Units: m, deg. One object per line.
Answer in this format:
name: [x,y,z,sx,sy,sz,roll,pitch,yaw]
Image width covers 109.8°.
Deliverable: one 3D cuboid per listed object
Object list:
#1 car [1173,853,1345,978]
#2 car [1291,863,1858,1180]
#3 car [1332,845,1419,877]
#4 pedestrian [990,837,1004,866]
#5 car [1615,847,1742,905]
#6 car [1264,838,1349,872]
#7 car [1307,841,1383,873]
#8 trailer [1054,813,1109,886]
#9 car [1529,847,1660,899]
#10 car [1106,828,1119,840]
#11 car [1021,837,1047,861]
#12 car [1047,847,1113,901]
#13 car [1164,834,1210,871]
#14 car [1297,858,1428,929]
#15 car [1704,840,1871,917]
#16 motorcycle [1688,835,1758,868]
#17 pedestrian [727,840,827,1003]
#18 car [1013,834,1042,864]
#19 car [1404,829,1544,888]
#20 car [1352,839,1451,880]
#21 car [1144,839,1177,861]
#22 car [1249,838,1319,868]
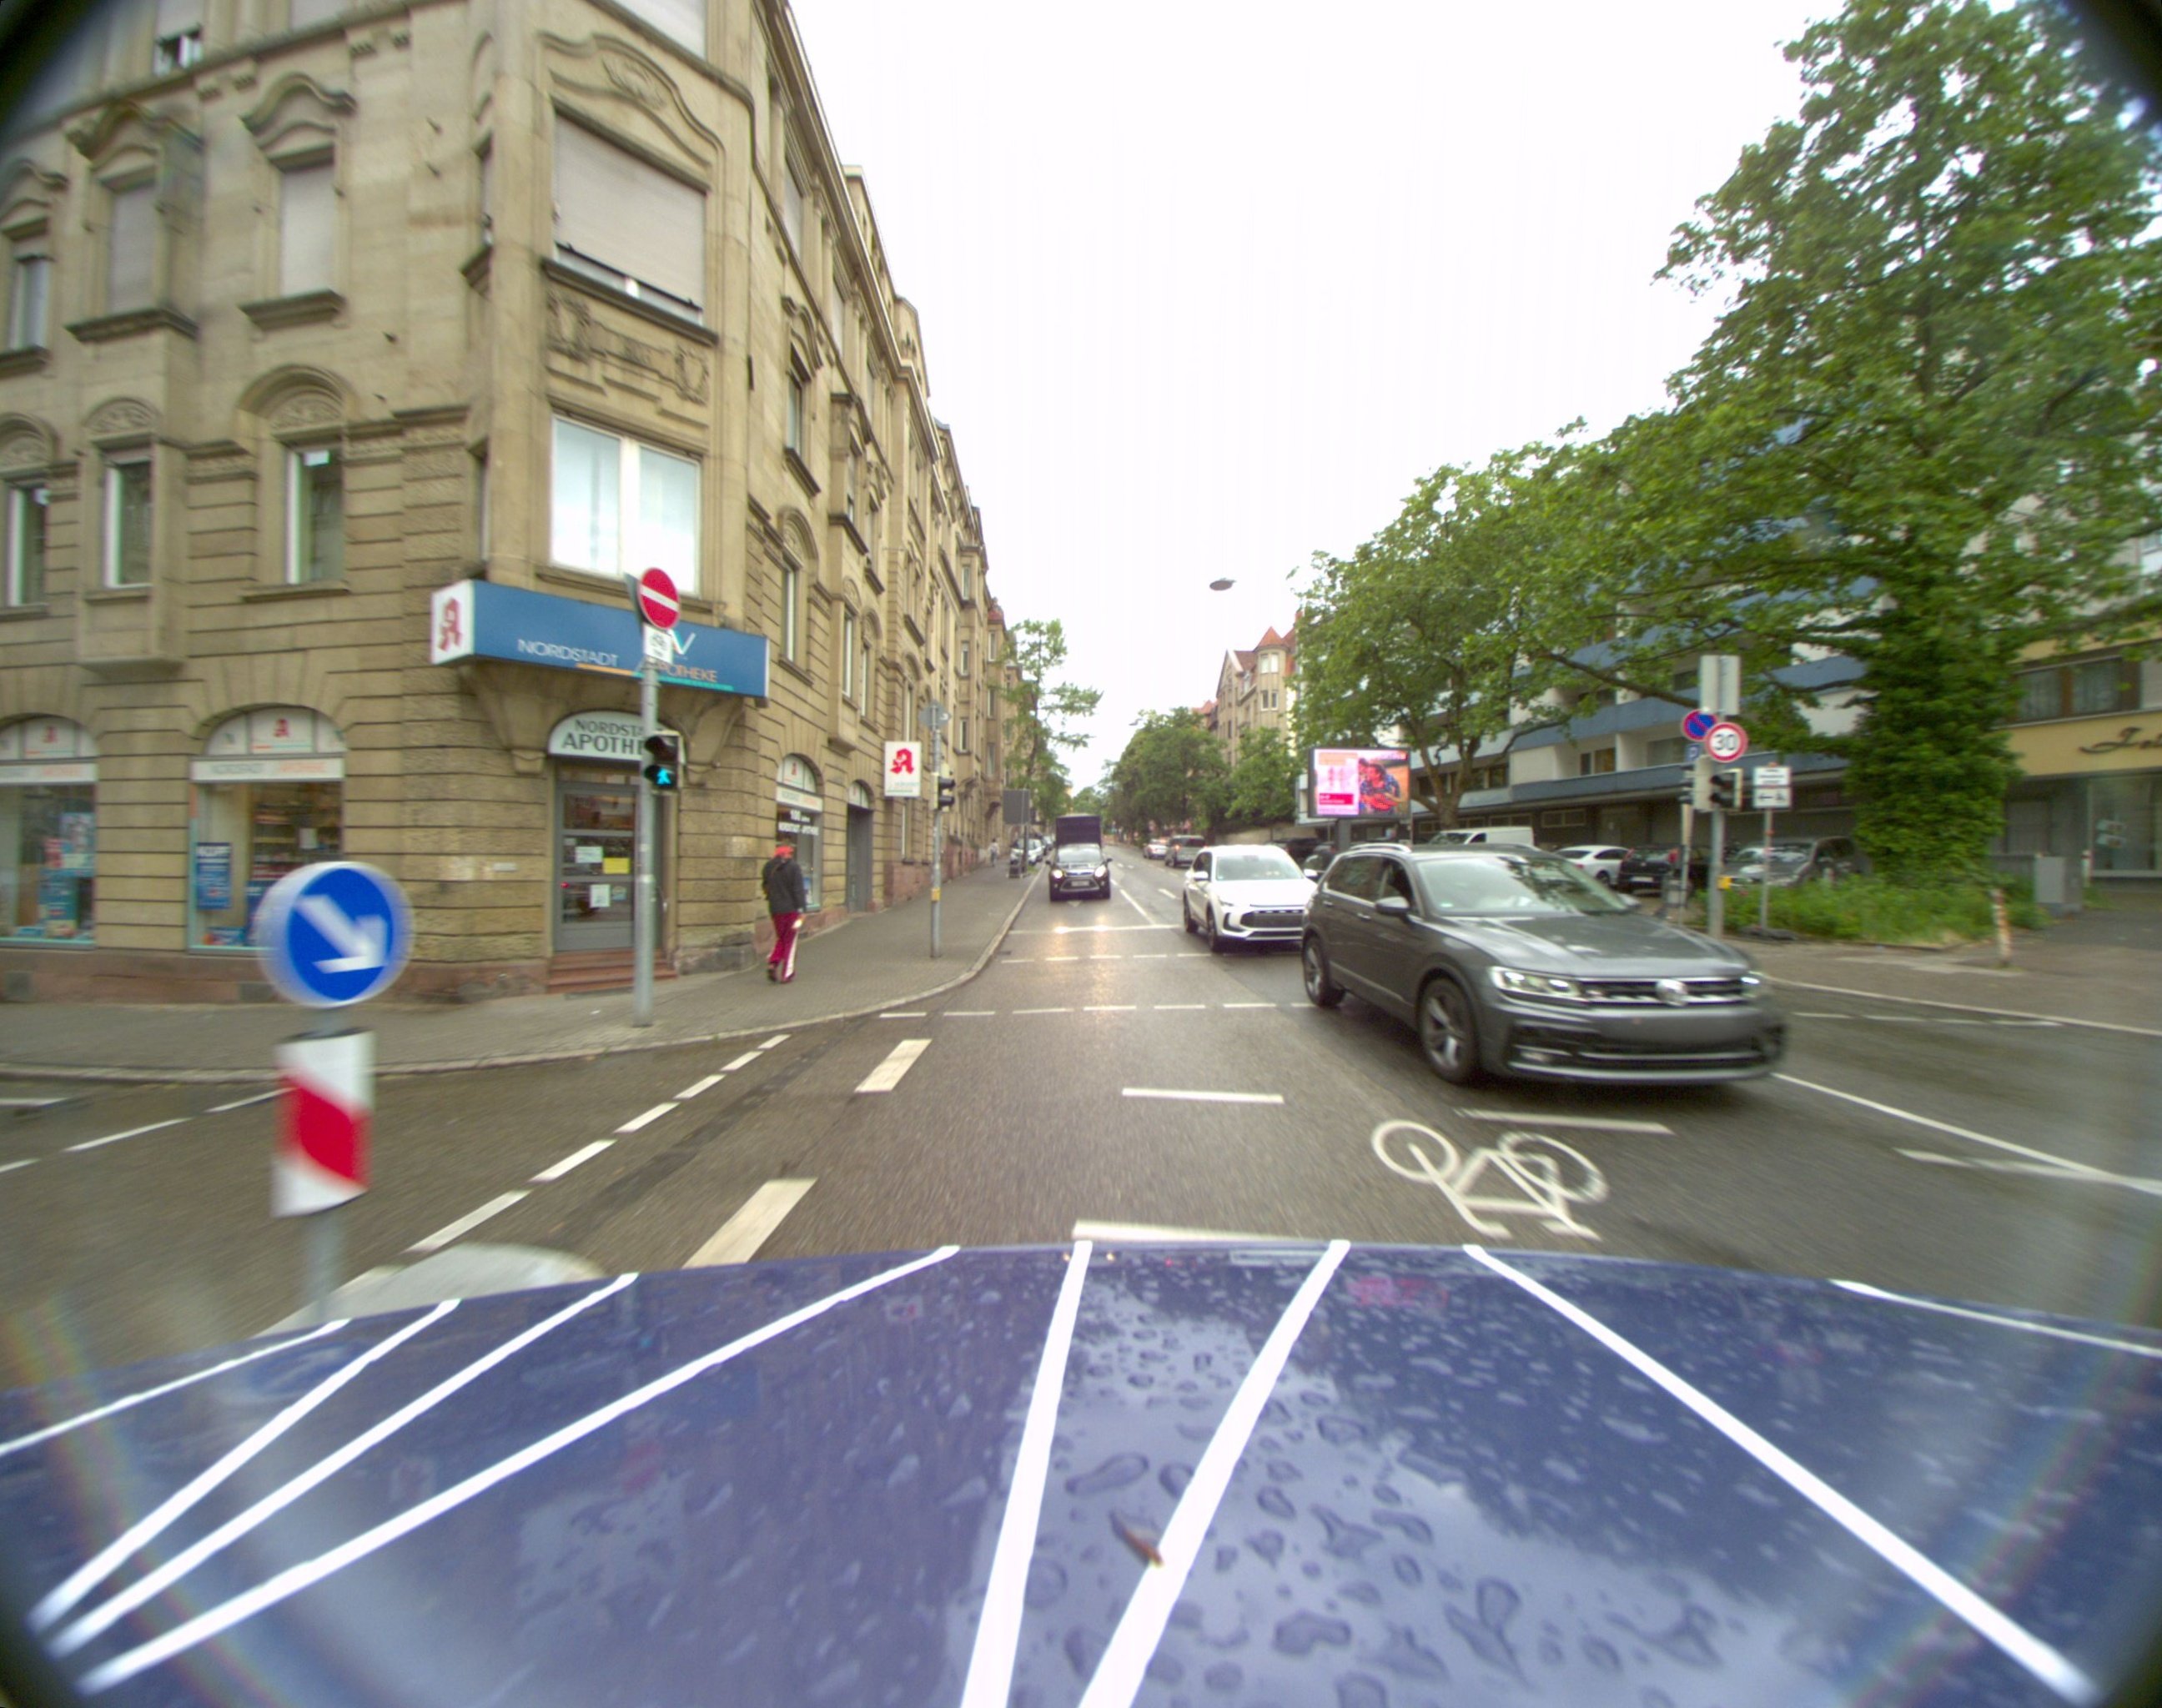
car: [2.809,0.873,13.036,1.757,1.635,4.376,-2,2,-2]
car: [3.215,0.912,6.150,1.756,1.634,4.212,-2,-1,-1]
car: [14.415,0.307,37.223,3.840,1.397,1.688,-2,2,-22]
pedestrian: [-4.587,-0.133,41.665,0.645,1.489,0.690,3,5,-2]
car: [17.014,0.572,21.613,3.627,1.408,1.627,-3,2,-30]
car: [12.338,0.011,41.539,4.317,1.584,1.807,-3,3,-25]
car: [13.780,0.119,39.623,3.841,1.398,1.676,-5,3,-32]
trailer: [0.029,-0.201,30.044,1.938,2.622,4.683,-1,1,0]
car: [16.154,0.540,23.901,3.710,1.408,1.808,-2,2,-26]
car: [4.774,-3.040,116.169,1.794,1.656,3.885,2,2,0]
car: [-3.180,-0.373,51.995,1.547,1.478,3.761,3,2,-1]
car: [0.038,0.550,23.752,1.862,1.504,3.682,0,1,3]
car: [5.920,-0.144,42.788,1.818,1.871,4.240,3,2,-1]
car: [6.809,0.896,18.789,1.718,1.488,3.681,2,1,-2]
car: [17.791,0.532,19.117,4.222,1.633,1.936,-3,2,-30]
motorcycle: [23.651,-0.109,28.040,0.704,1.161,1.958,-1,2,-11]
pedestrian: [-3.816,0.801,9.619,0.699,1.938,1.091,-1,1,7]
car: [-3.208,-0.356,46.115,1.526,1.609,3.491,3,3,-1]
car: [14.977,0.114,28.935,4.981,1.966,1.876,-2,2,-21]
car: [14.334,0.191,34.000,3.839,1.680,1.803,-1,2,-20]
car: [5.757,-0.320,55.359,1.731,1.440,4.323,2,2,-2]
car: [11.994,-0.096,44.876,3.841,1.523,1.766,-4,3,-29]
